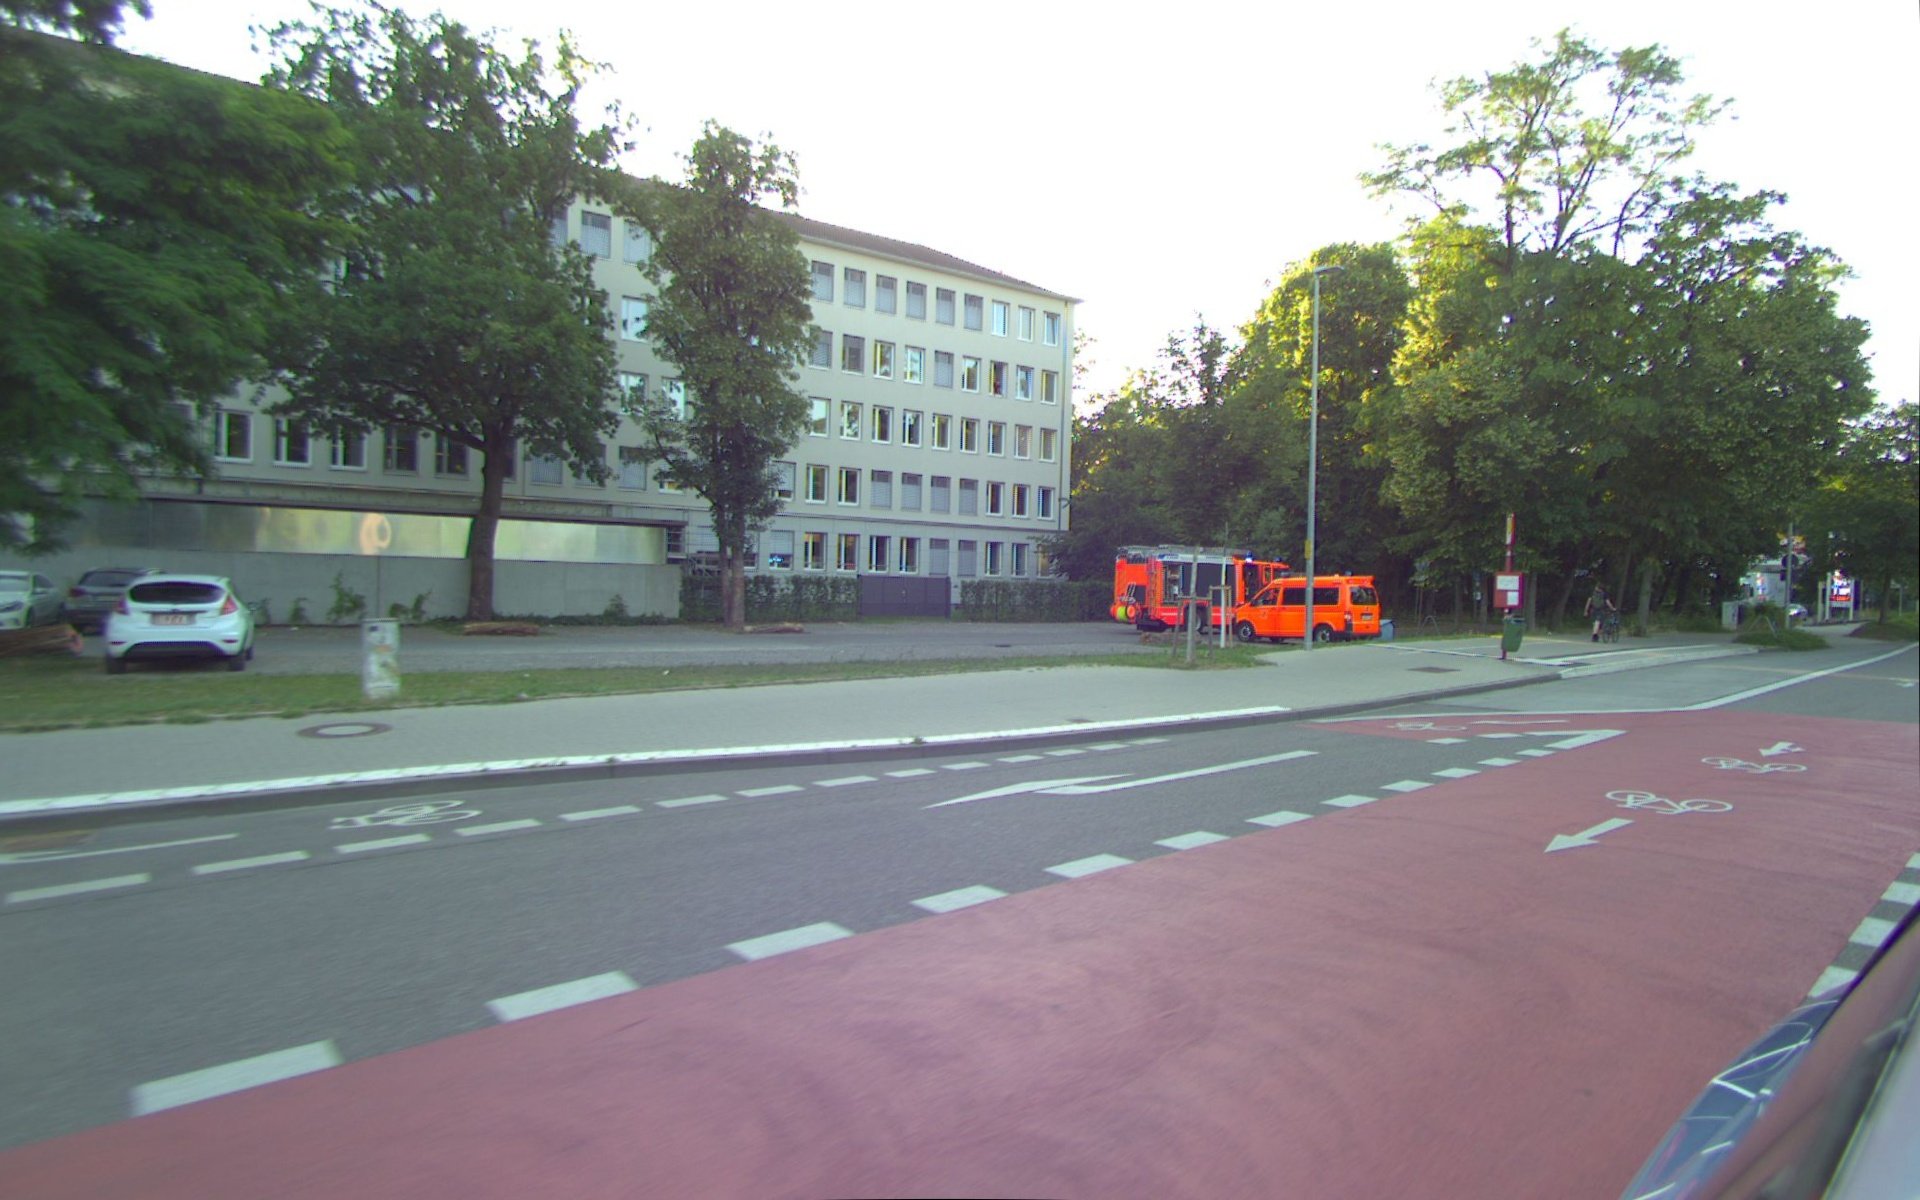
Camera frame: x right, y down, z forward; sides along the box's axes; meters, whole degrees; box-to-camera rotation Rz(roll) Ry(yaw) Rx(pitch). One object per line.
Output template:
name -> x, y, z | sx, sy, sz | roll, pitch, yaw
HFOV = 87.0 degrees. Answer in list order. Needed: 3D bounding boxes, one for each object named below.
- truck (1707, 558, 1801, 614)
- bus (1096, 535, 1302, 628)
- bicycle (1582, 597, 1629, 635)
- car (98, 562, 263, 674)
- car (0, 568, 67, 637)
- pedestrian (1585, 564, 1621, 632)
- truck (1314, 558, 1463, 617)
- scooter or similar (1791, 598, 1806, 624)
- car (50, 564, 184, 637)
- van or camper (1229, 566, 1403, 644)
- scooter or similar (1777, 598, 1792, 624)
truck -> 58.778, -0.957, 74.643 | 15.619, 3.776, 3.221 | 0, 0, -43
bus -> 9.140, -0.651, 38.353 | 7.808, 3.236, 2.999 | 0, 0, -33
bicycle -> 19.676, 0.472, 30.838 | 0.830, 1.111, 1.937 | 0, 0, 44
car -> -12.345, 0.228, 16.214 | 1.875, 1.557, 3.999 | 0, 0, -36
car -> -22.118, 0.034, 23.221 | 1.797, 1.494, 4.003 | 0, 0, -32
pedestrian -> 19.682, -0.066, 30.970 | 0.683, 2.038, 0.724 | 0, 2, -42
truck -> 25.252, -0.811, 60.275 | 2.703, 3.251, 8.682 | 1, 1, -23
scooter or similar -> 43.268, 0.579, 52.230 | 0.482, 1.298, 1.123 | 4, 2, 42
car -> -20.476, -0.018, 24.766 | 1.875, 1.637, 4.004 | -1, 1, -30
van or camper -> 11.154, 0.123, 32.059 | 2.250, 2.273, 4.831 | 0, 0, -33
scooter or similar -> 41.929, 0.538, 51.479 | 0.482, 1.298, 1.213 | 4, 2, 42
